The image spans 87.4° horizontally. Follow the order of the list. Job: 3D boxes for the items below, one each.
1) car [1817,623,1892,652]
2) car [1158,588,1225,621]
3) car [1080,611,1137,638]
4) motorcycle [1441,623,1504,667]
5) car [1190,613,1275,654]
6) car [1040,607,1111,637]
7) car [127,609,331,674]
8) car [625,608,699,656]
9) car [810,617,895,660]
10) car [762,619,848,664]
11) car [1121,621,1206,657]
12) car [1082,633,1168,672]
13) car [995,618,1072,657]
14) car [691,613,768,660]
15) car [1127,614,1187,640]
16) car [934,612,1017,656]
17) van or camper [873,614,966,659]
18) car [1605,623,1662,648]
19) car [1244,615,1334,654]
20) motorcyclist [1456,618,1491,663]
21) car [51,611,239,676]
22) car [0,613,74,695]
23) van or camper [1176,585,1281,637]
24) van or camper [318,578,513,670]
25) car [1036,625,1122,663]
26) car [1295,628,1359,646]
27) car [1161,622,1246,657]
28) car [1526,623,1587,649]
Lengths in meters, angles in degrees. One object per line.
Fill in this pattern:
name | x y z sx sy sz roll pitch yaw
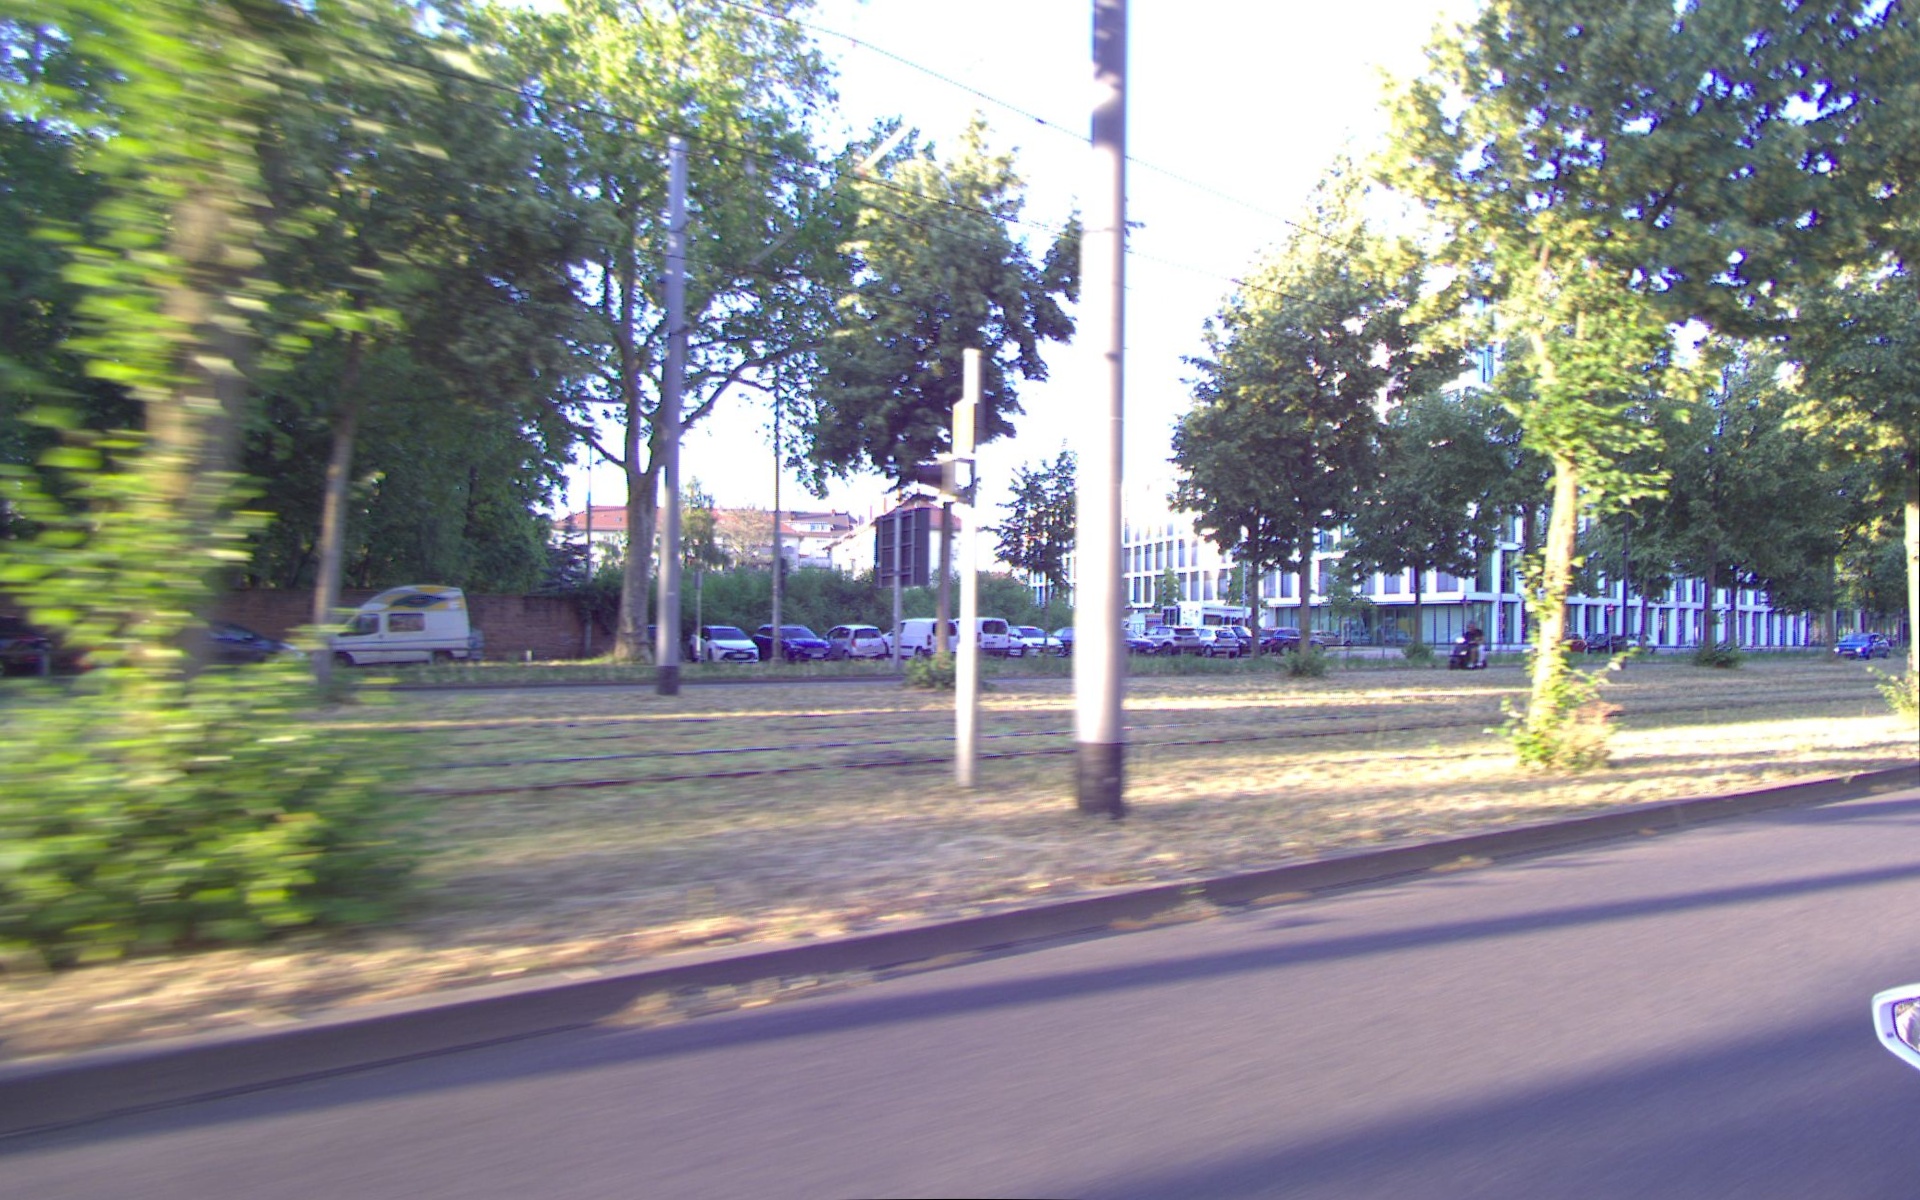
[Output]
car | 49.297 2.028 55.340 4.238 1.528 1.908 1 -1 -31
car | 15.097 0.306 65.422 3.953 2.040 1.984 1 -1 -30
car | 11.370 1.855 76.950 3.953 2.040 1.984 1 -1 -30
motorcycle | 16.203 1.399 31.751 2.318 1.354 0.678 1 -1 -32
car | 14.128 1.704 52.222 1.979 2.040 3.964 1 -1 -33
car | 10.224 1.952 89.273 5.993 2.631 1.993 1 -1 -17
car | -18.048 0.998 24.986 3.962 1.506 1.980 1 -1 -36
car | -11.068 1.137 37.119 1.898 1.662 3.971 1 -1 -28
car | -4.482 1.540 41.538 1.902 1.662 3.963 1 -1 -33
car | -6.193 1.597 39.862 1.902 1.662 3.963 1 -1 -33
car | 9.938 1.881 49.299 1.902 1.662 3.963 1 -1 -33
car | 7.827 2.472 48.048 1.902 1.662 3.963 1 -1 -33
car | 3.267 1.673 45.543 1.895 1.662 3.978 1 -1 -23
car | -8.831 1.348 38.266 1.898 1.662 3.970 1 -1 -28
car | 14.142 1.923 72.057 3.949 1.835 1.909 1 -1 -28
car | 0.639 1.468 44.632 1.988 1.869 3.969 1 -1 -29
van or camper | -1.751 1.507 42.754 1.984 1.815 3.954 1 -1 -40
car | 46.338 2.437 69.110 3.739 1.603 1.851 1 -1 -30
car | 17.835 1.854 54.389 4.876 2.040 1.983 1 -1 -31
motorcyclist | 16.235 1.272 31.757 0.795 1.394 0.677 1 -1 -31
car | -23.523 1.233 29.215 3.955 1.773 1.983 1 -1 -31
car | -22.581 1.149 21.764 4.736 1.773 1.983 1 -1 -31
van or camper | 16.834 0.731 63.005 6.181 3.126 2.701 1 0 -27
van or camper | -17.665 0.778 32.737 5.434 2.772 2.073 1 -1 -32
car | 5.505 2.001 46.820 1.902 1.662 3.963 1 -1 -33
car | 26.239 2.656 71.835 4.184 1.277 1.738 1 -1 -18
car | 12.206 1.945 50.549 1.902 1.662 3.963 1 -1 -33
car | 37.885 2.258 63.784 3.450 1.603 1.851 1 -1 -30
